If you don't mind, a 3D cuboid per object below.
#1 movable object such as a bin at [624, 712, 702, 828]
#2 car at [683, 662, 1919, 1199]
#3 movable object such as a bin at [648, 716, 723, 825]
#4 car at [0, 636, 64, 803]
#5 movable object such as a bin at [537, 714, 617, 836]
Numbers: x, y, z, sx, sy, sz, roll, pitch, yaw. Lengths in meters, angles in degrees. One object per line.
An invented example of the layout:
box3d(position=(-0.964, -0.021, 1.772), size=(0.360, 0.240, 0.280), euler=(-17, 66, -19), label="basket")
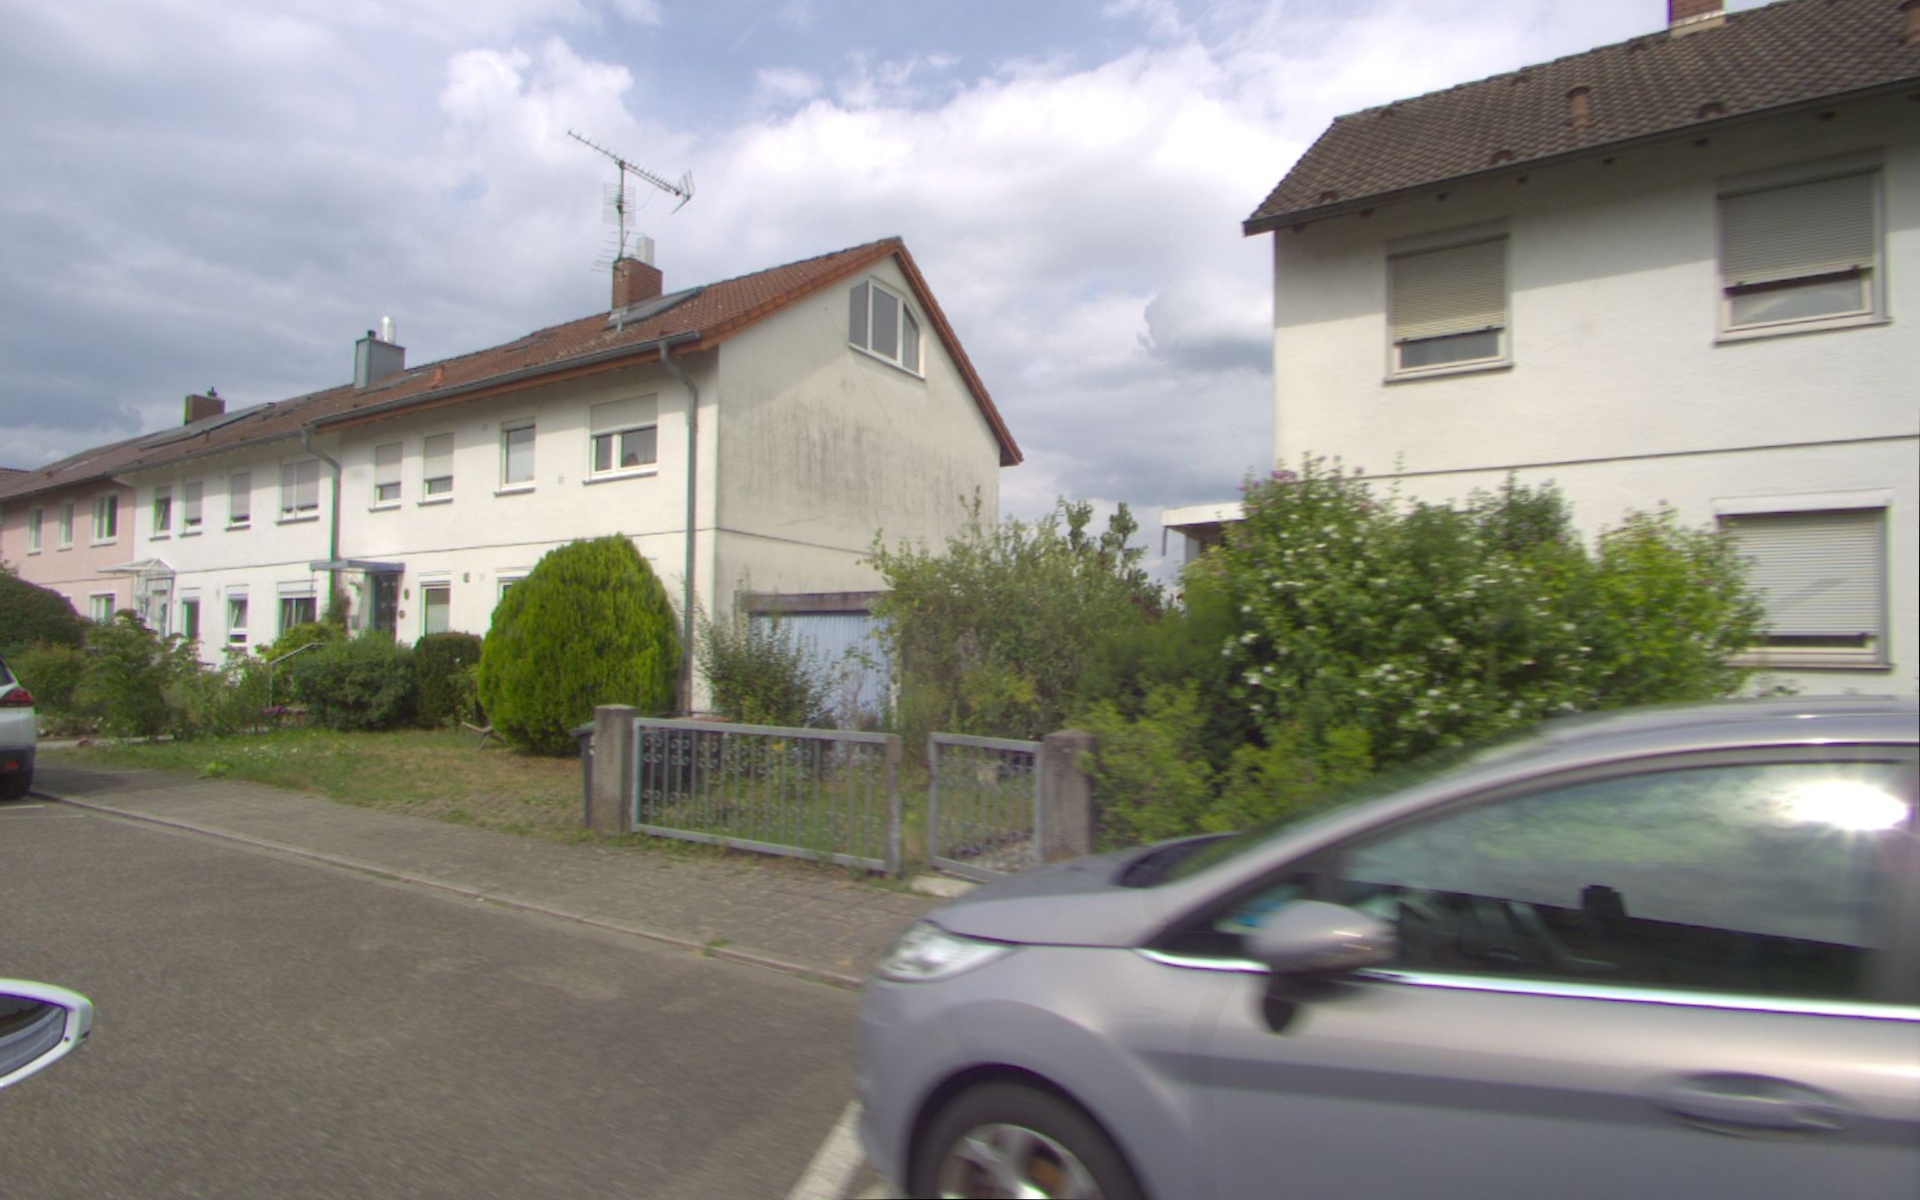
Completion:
box3d(position=(-2.567, 1.453, 8.665), size=(0.457, 0.932, 0.431), euler=(0, -2, 27), label="movable object such as a bin")
box3d(position=(1.494, 0.929, 2.334), size=(4.071, 1.478, 1.898), euler=(-1, -3, 33), label="car")
box3d(position=(-2.519, 1.548, 9.211), size=(0.457, 0.932, 0.431), euler=(0, -4, 27), label="movable object such as a bin")
box3d(position=(-10.923, 1.113, 10.069), size=(3.915, 1.562, 1.713), euler=(-1, -5, 31), label="car")
box3d(position=(-3.142, 1.417, 8.227), size=(0.414, 0.932, 0.407), euler=(0, -3, 27), label="movable object such as a bin")
